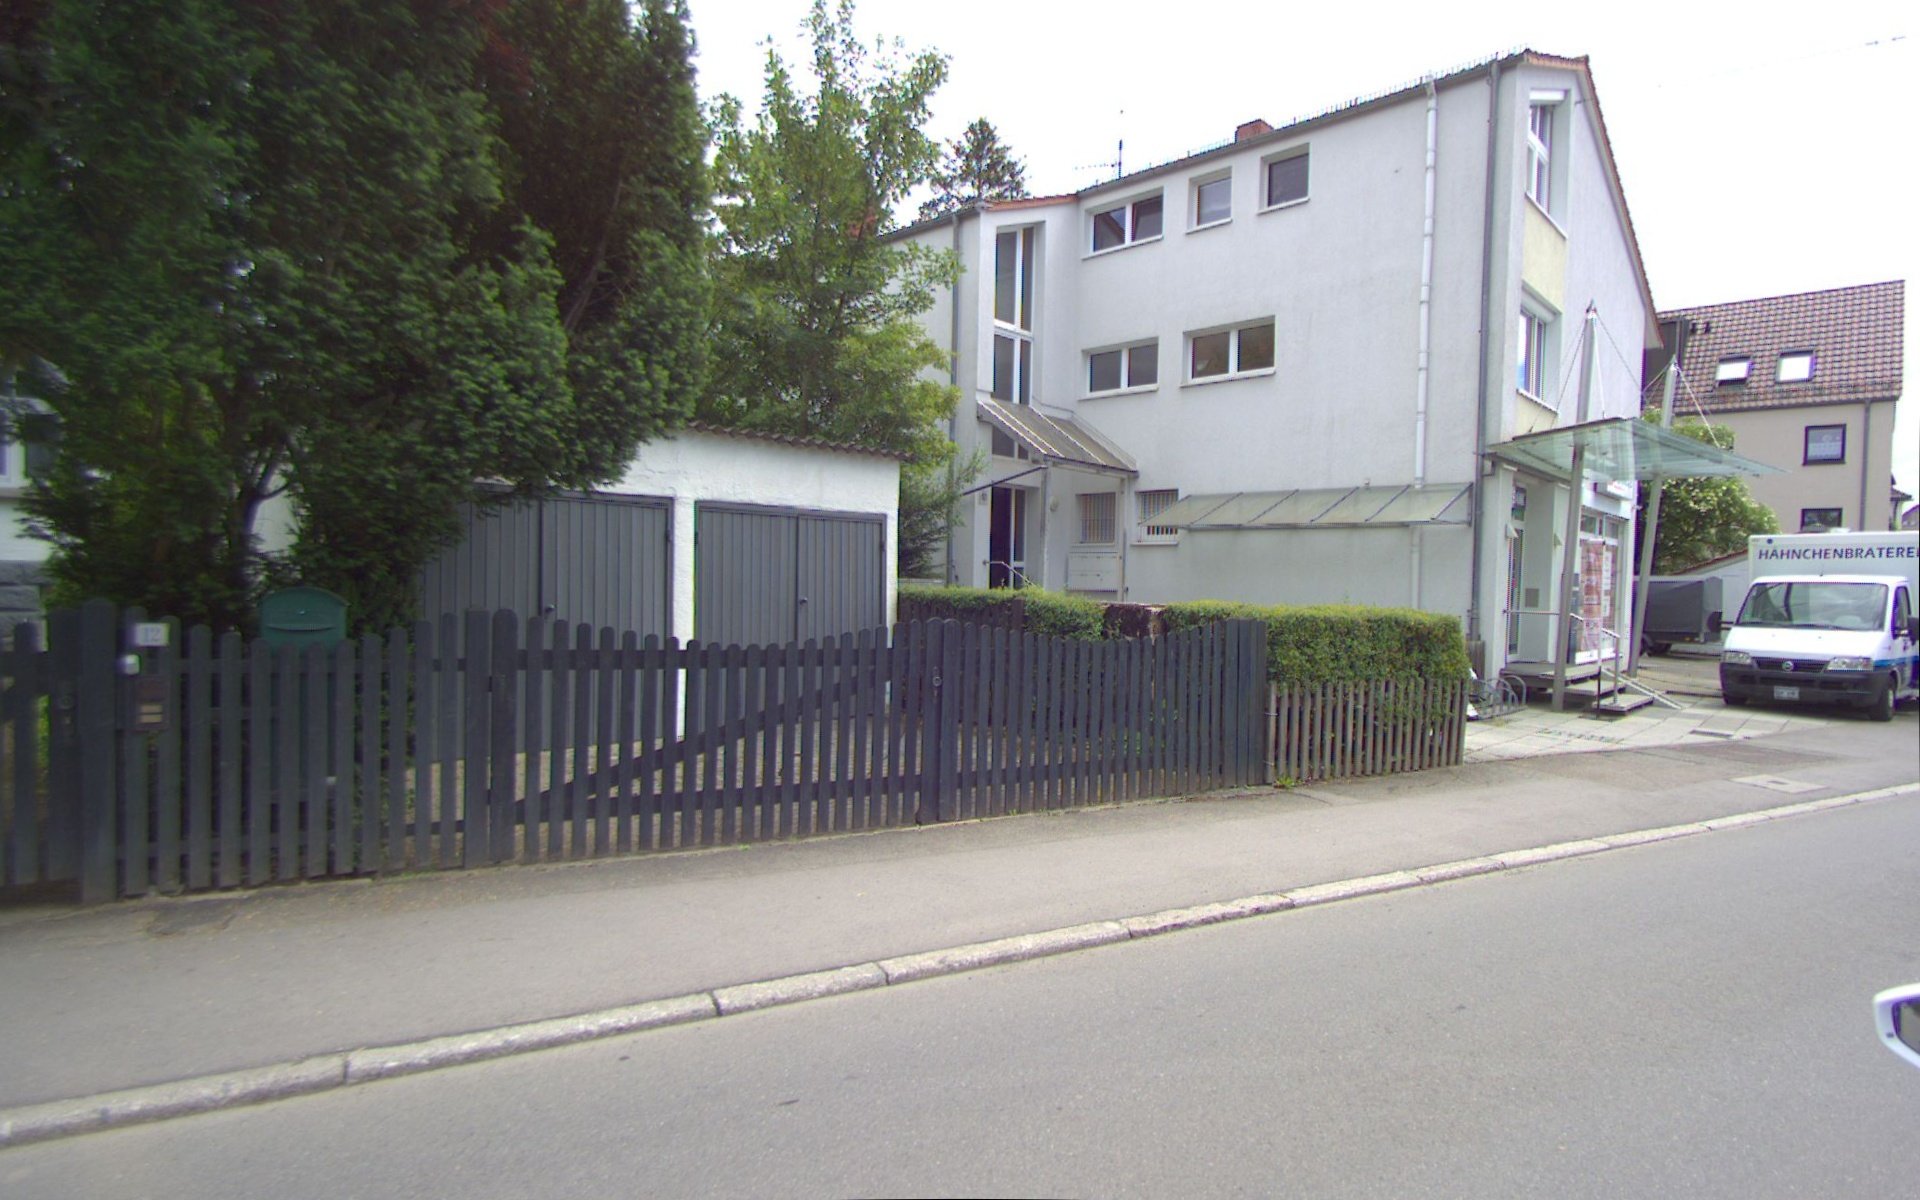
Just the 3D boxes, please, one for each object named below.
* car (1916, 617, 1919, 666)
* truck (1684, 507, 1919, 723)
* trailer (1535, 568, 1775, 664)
[{"bbox_3d":[27.760,1.056,25.984,1.786,1.718,4.268,0,4,-44],"label":"car"},{"bbox_3d":[14.552,0.222,16.337,6.642,2.878,2.456,1,1,-36],"label":"truck"},{"bbox_3d":[18.121,0.314,26.443,1.687,2.108,4.827,-1,4,-36],"label":"trailer"}]
